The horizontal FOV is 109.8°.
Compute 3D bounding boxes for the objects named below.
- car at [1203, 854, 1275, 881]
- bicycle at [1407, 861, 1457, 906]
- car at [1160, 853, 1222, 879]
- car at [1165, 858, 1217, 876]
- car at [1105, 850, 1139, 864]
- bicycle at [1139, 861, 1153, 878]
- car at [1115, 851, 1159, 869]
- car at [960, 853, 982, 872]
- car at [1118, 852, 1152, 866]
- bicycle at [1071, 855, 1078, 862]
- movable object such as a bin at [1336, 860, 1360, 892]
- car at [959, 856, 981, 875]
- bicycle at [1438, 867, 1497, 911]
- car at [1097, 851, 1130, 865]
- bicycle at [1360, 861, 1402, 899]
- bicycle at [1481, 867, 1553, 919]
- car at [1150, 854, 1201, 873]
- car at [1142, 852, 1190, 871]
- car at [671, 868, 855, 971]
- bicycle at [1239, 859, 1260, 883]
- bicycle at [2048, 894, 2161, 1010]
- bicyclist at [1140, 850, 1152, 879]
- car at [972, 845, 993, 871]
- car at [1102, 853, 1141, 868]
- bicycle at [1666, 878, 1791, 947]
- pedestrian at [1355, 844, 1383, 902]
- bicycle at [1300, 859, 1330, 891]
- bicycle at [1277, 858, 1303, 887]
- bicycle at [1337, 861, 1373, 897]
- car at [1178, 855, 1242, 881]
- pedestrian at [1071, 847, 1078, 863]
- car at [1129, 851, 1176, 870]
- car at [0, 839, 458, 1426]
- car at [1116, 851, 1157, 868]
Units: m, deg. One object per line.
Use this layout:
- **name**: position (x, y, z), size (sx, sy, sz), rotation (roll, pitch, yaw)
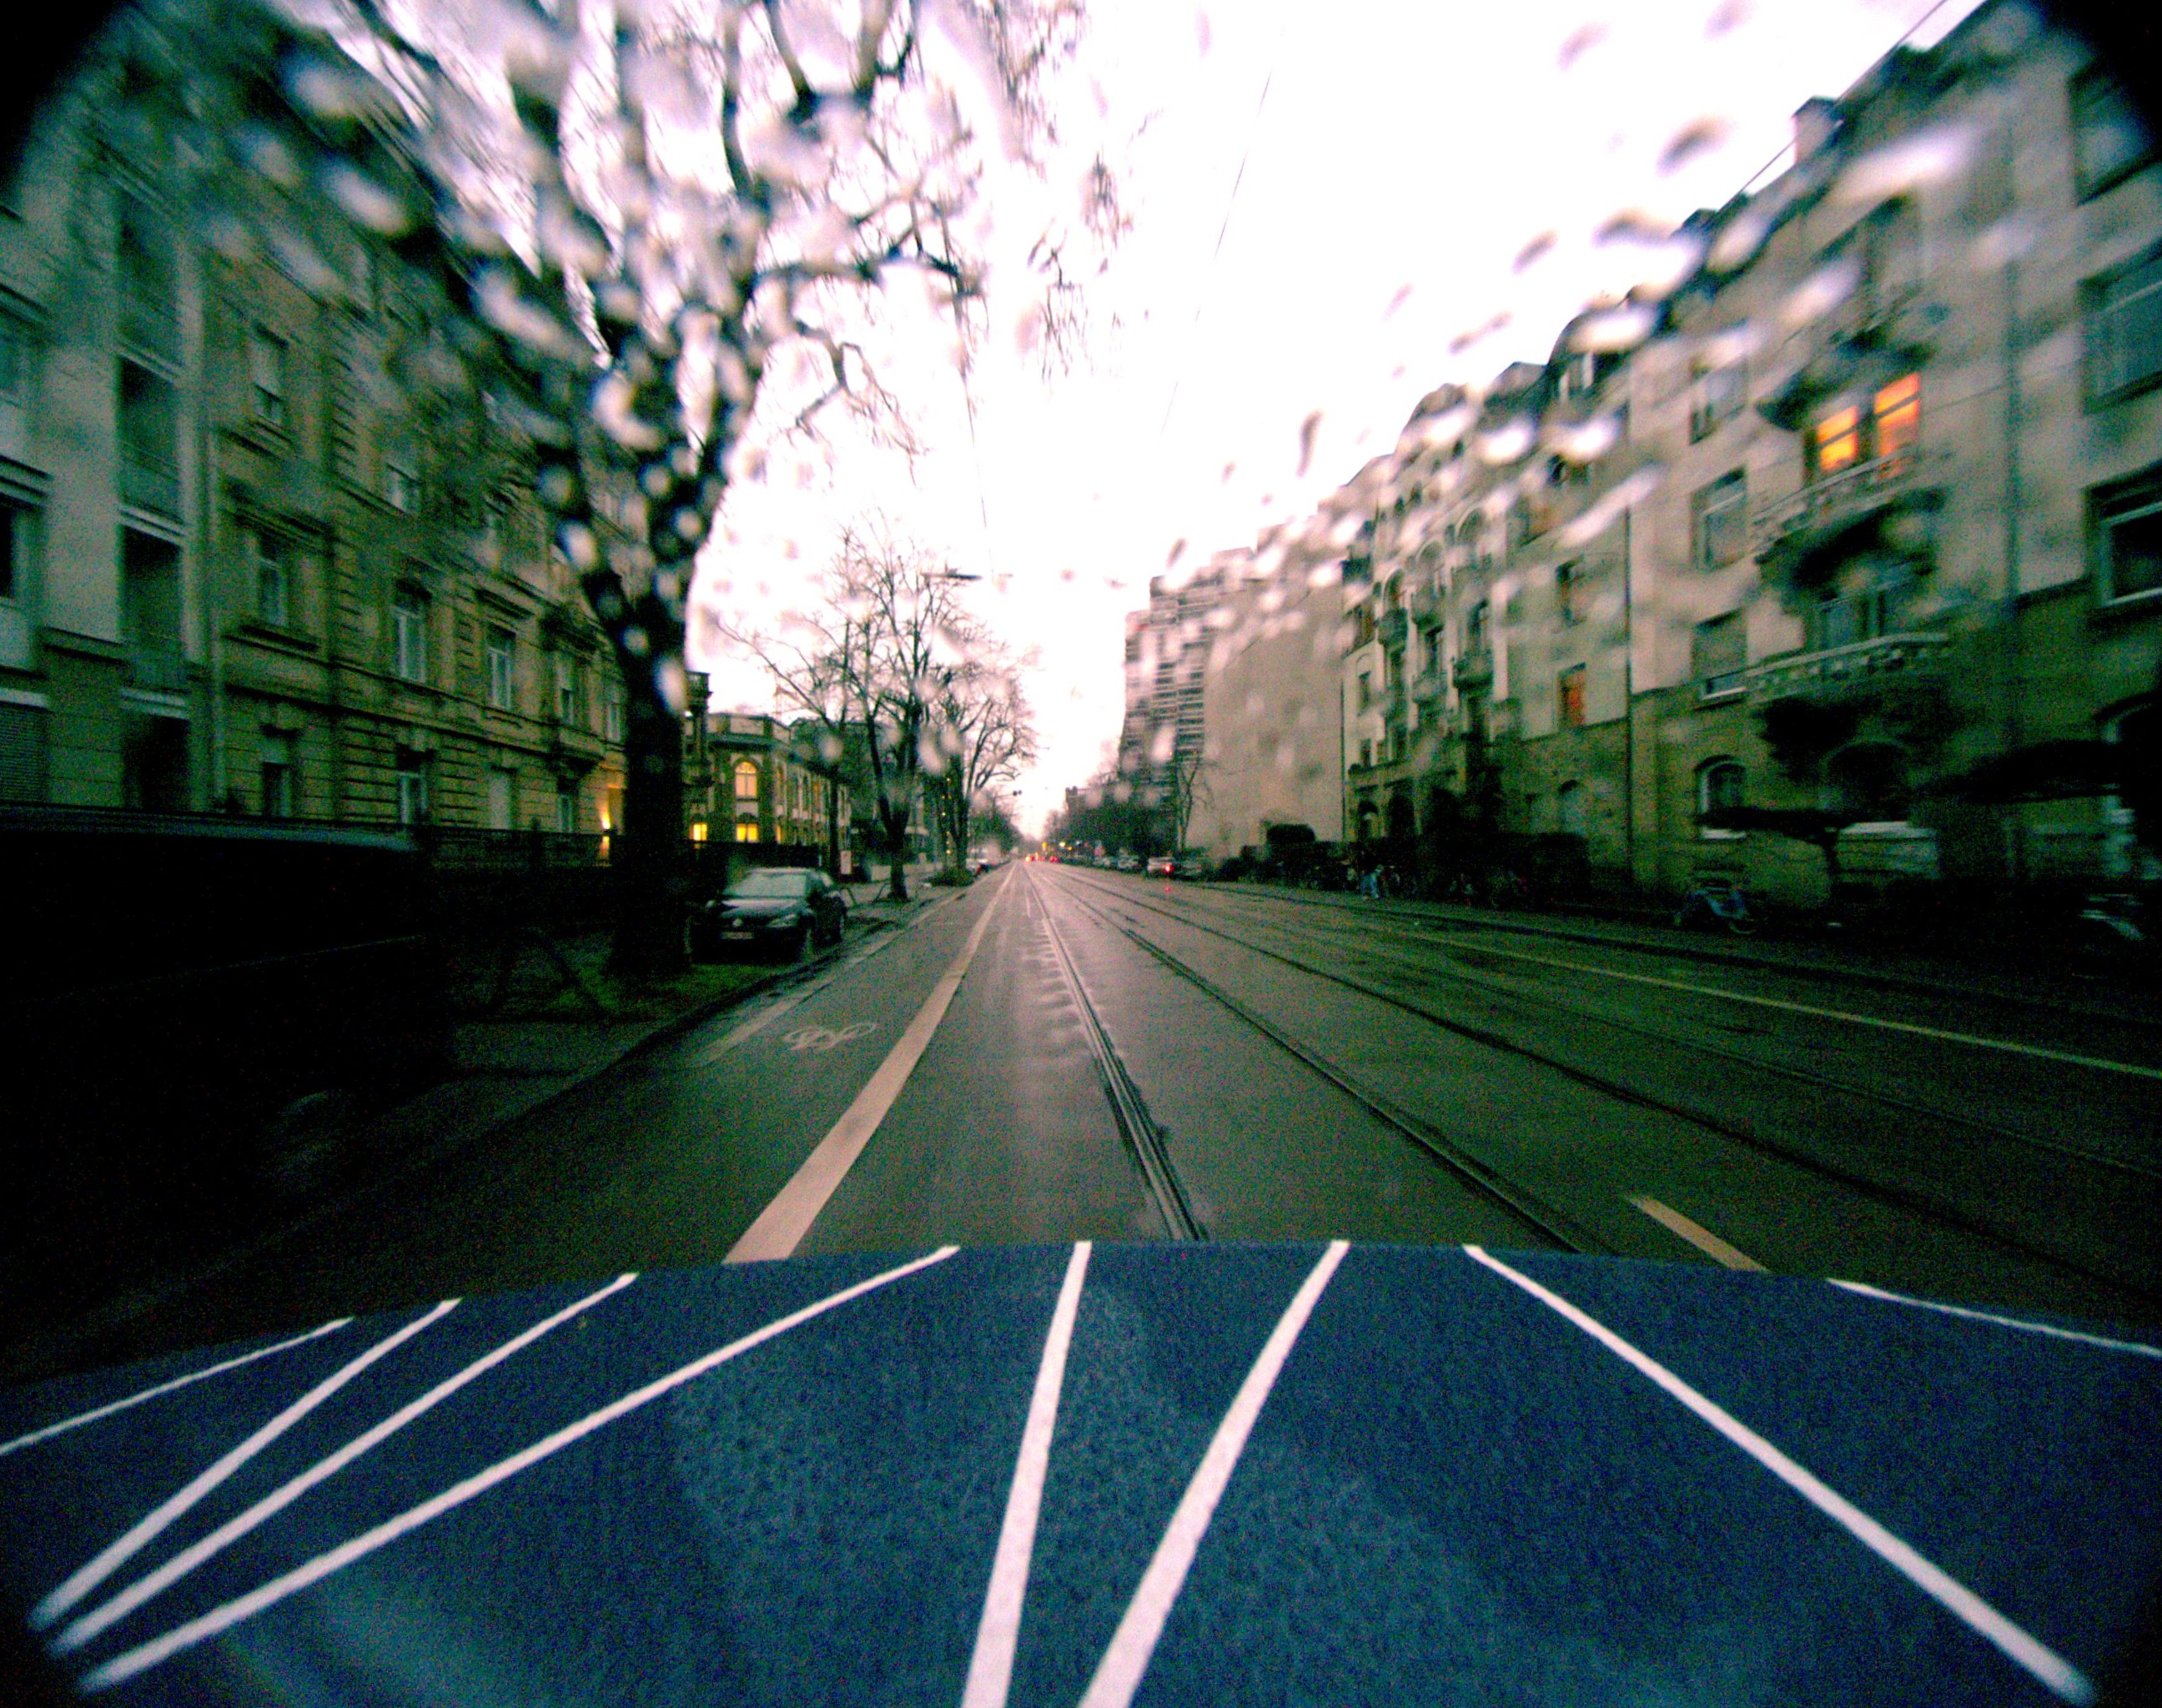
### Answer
- **car**: position (9.355, 0.774, 44.958), size (4.007, 1.485, 1.864), rotation (-1, 0, -33)
- **bicycle**: position (10.005, 0.821, 21.698), size (0.625, 1.205, 1.662), rotation (-1, 0, -2)
- **car**: position (7.274, 0.767, 50.228), size (4.008, 1.586, 1.864), rotation (-1, 1, -41)
- **car**: position (7.817, 0.884, 53.785), size (3.674, 1.245, 1.707), rotation (0, 0, -42)
- **car**: position (5.060, 0.379, 93.505), size (4.008, 1.586, 1.864), rotation (-1, 1, -41)
- **bicycle**: position (4.274, 1.021, 50.056), size (0.625, 1.086, 1.947), rotation (-1, 0, -2)
- **car**: position (5.445, 0.571, 73.588), size (4.008, 1.586, 1.864), rotation (-1, 1, -41)
- **car**: position (-10.258, 0.759, 71.093), size (2.000, 1.672, 3.997), rotation (-1, 1, -7)
- **car**: position (6.508, 0.598, 91.548), size (4.008, 1.586, 1.864), rotation (-1, 1, -41)
- **bicycle**: position (-0.934, 0.638, 110.503), size (0.858, 0.986, 1.918), rotation (-1, 1, 0)
- **movable object such as a bin**: position (10.122, 0.827, 28.854), size (0.659, 1.157, 0.674), rotation (-1, 1, -2)
- **car**: position (-8.844, 0.873, 60.913), size (1.629, 1.399, 3.997), rotation (-1, 1, -7)
- **bicycle**: position (10.101, 0.898, 19.925), size (0.625, 1.059, 1.726), rotation (-1, 0, -2)
- **car**: position (4.076, 0.497, 95.580), size (4.008, 1.586, 1.864), rotation (-1, 1, -41)
- **bicycle**: position (9.618, 0.821, 24.423), size (0.625, 1.157, 1.662), rotation (-1, 0, -2)
- **bicycle**: position (10.204, 0.881, 17.847), size (0.625, 1.119, 1.783), rotation (-1, 0, -2)
- **car**: position (7.548, 0.749, 60.545), size (4.008, 1.440, 1.864), rotation (-1, 0, -41)
- **car**: position (7.255, 0.625, 64.695), size (4.008, 1.586, 1.864), rotation (-1, 1, -41)
- **car**: position (-5.258, 1.002, 13.204), size (1.763, 1.437, 4.155), rotation (1, 0, -5)
- **bicycle**: position (8.449, 0.833, 38.177), size (0.625, 1.157, 1.662), rotation (-1, 0, -2)
- **bicycle**: position (10.919, 0.983, 7.495), size (0.625, 1.086, 1.662), rotation (-1, 0, -2)
- **bicyclist**: position (4.279, 0.706, 49.926), size (0.625, 1.865, 0.991), rotation (-1, 1, -2)
- **car**: position (-10.461, 0.353, 80.803), size (2.094, 2.622, 5.445), rotation (-1, 1, -7)
- **car**: position (4.398, 0.668, 82.145), size (4.008, 1.586, 1.864), rotation (-1, 1, -41)
- **bicycle**: position (10.635, 0.935, 12.560), size (0.625, 0.997, 1.662), rotation (-1, 0, -2)
- **pedestrian**: position (8.817, 0.577, 23.297), size (0.574, 1.716, 0.644), rotation (-2, 2, 0)
- **bicycle**: position (9.323, 0.810, 30.290), size (0.625, 1.205, 1.662), rotation (-1, 0, -2)
- **bicycle**: position (9.007, 0.804, 32.839), size (0.625, 1.205, 1.662), rotation (-1, 0, -2)
- **bicycle**: position (9.540, 0.843, 26.531), size (0.625, 1.205, 1.662), rotation (-1, 0, -2)
- **car**: position (8.043, 0.845, 47.234), size (4.008, 1.477, 1.760), rotation (-1, 0, -41)
- **pedestrian**: position (-0.944, 0.177, 110.491), size (0.952, 2.246, 1.119), rotation (-1, 1, 1)
- **car**: position (6.324, 0.549, 67.320), size (4.008, 1.586, 1.864), rotation (-1, 1, -41)
- **car**: position (-4.411, 0.884, 1.795), size (2.036, 1.865, 4.961), rotation (0, 0, -4)
- **car**: position (5.612, 0.534, 76.699), size (4.008, 1.586, 1.864), rotation (-1, 1, -41)
